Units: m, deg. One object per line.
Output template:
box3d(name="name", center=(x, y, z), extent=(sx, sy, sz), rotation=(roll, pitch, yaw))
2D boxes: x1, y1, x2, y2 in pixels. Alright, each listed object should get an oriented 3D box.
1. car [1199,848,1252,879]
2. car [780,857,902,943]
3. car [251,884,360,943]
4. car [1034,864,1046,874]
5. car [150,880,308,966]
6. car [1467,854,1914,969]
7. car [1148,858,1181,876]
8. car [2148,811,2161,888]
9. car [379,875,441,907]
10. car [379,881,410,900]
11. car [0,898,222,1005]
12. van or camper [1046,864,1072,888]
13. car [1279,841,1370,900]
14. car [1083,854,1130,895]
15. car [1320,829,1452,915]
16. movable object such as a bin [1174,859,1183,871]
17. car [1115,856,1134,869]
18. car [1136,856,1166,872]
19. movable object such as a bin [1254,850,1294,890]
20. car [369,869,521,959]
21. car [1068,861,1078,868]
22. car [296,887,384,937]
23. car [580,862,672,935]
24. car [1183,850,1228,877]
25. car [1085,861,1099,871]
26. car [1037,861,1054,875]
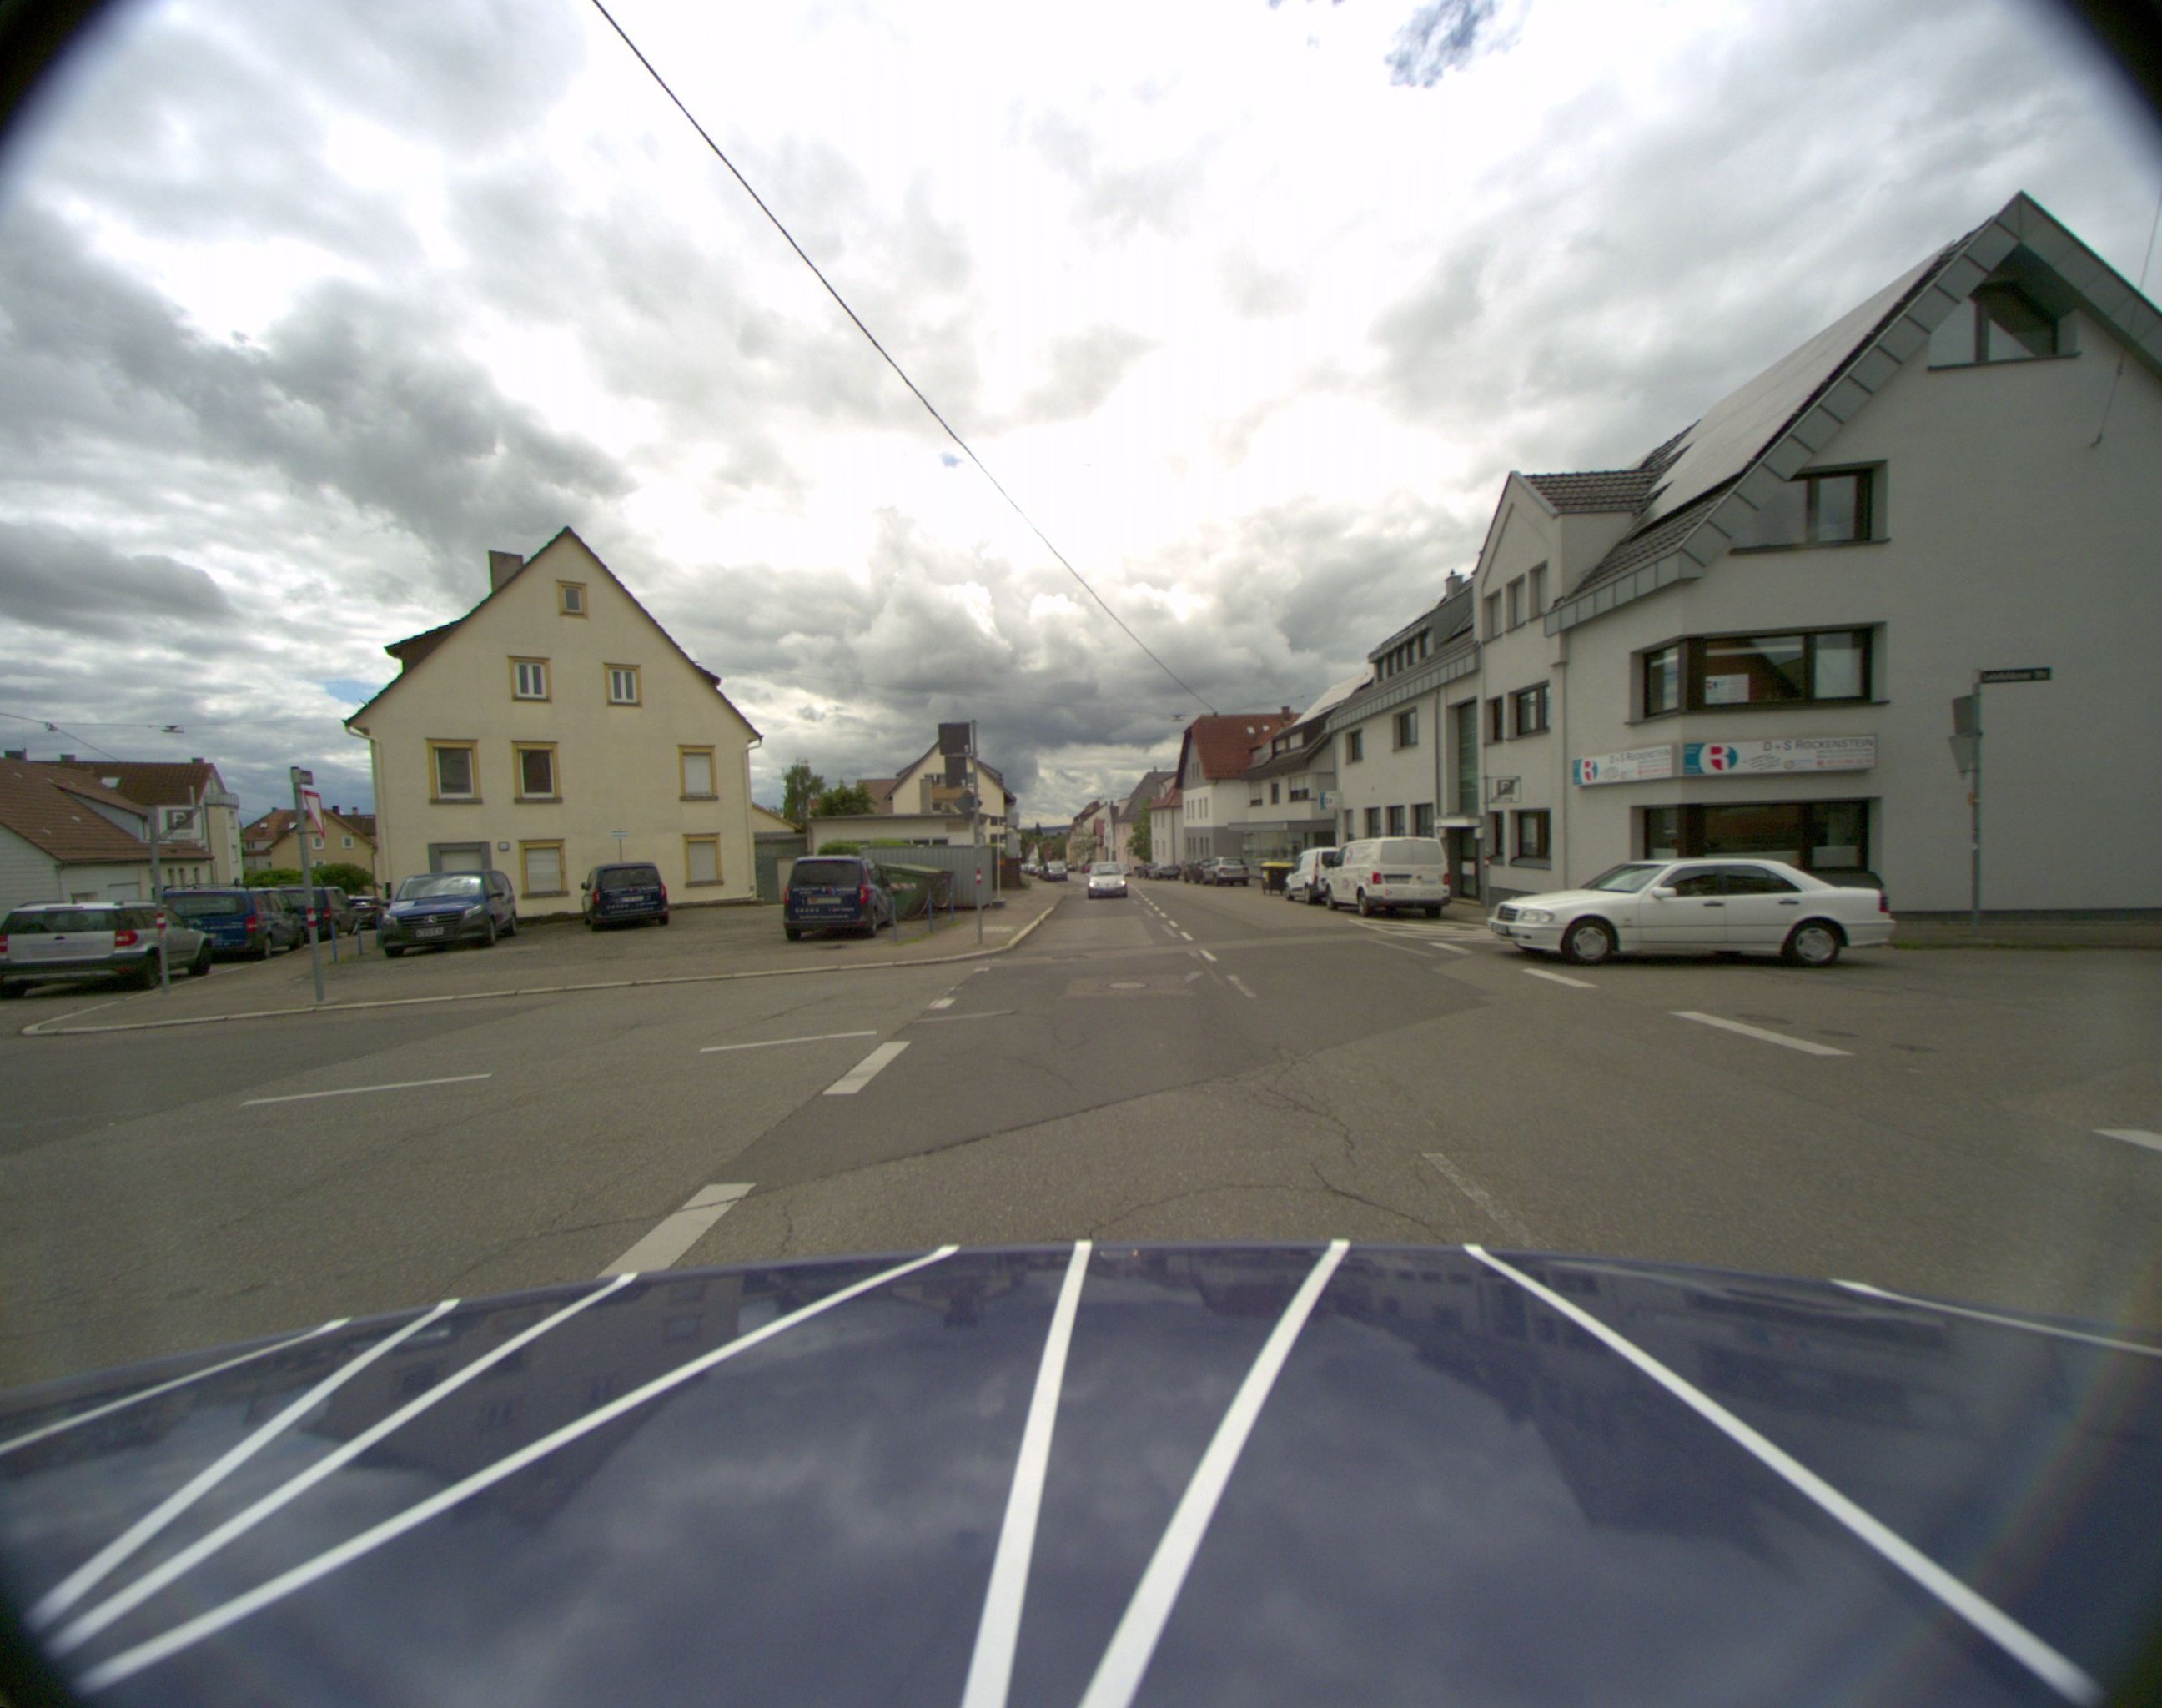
box3d(name="car", center=(8.139, 0.539, 43.278), extent=(1.843, 1.623, 4.406), rotation=(-1, 0, -5))
box3d(name="car", center=(-5.389, 0.949, 17.662), extent=(1.751, 1.729, 4.570), rotation=(0, 0, -5))
box3d(name="car", center=(-26.203, 1.955, 25.812), extent=(1.725, 1.720, 3.991), rotation=(-4, 0, -34))
box3d(name="car", center=(-6.299, 2.297, 117.505), extent=(1.614, 1.446, 3.857), rotation=(-4, 0, -6))
box3d(name="car", center=(-21.941, 1.698, 19.774), extent=(1.778, 1.931, 4.314), rotation=(-1, -2, -35))
box3d(name="car", center=(8.243, 0.733, 10.732), extent=(4.562, 1.437, 2.001), rotation=(0, 0, 7))
box3d(name="car", center=(6.817, 1.036, 62.531), extent=(1.843, 1.436, 4.466), rotation=(0, 0, -5))
box3d(name="car", center=(26.444, -0.092, 16.333), extent=(1.897, 1.840, 3.907), rotation=(-2, 1, 11))
box3d(name="car", center=(-41.165, 2.270, 46.719), extent=(2.286, 1.720, 3.991), rotation=(-4, 0, -34))
box3d(name="car", center=(-83.048, 4.396, 91.942), extent=(2.003, 2.002, 3.991), rotation=(-4, 0, -33))
box3d(name="car", center=(-18.489, 1.738, 14.515), extent=(1.778, 1.608, 3.991), rotation=(-4, 0, -35))
box3d(name="van or camper", center=(-2.131, 2.054, 72.971), extent=(1.999, 2.002, 5.062), rotation=(-5, 0, -6))
box3d(name="car", center=(8.037, 0.527, 25.486), extent=(1.737, 1.821, 4.298), rotation=(0, 0, 1))
box3d(name="car", center=(1.070, 0.854, 33.889), extent=(1.721, 1.586, 3.999), rotation=(-4, 0, -2))
box3d(name="car", center=(7.823, 0.440, 20.014), extent=(1.816, 1.994, 4.764), rotation=(0, 0, 4))
box3d(name="movable object such as a bin", center=(9.284, 1.042, 72.473), extent=(0.679, 1.039, 0.758), rotation=(-4, 0, -5))
box3d(name="car", center=(4.894, 0.971, 85.706), extent=(1.654, 1.438, 3.809), rotation=(-1, 0, -5))
box3d(name="car", center=(6.376, 0.903, 69.377), extent=(1.843, 1.436, 3.997), rotation=(0, 0, -8))
box3d(name="movable object such as a bin", center=(8.048, 0.644, 31.768), extent=(1.143, 1.623, 1.562), rotation=(-1, 0, -5))
box3d(name="car", center=(-15.451, 1.371, 18.766), extent=(1.905, 1.792, 4.883), rotation=(-4, 0, -30))
box3d(name="car", center=(-1.652, 2.139, 154.810), extent=(1.707, 1.523, 3.734), rotation=(1, 0, -5))
box3d(name="car", center=(-29.279, 2.237, 30.160), extent=(1.725, 1.720, 3.991), rotation=(-4, 0, -34))
box3d(name="car", center=(-12.895, 1.219, 21.433), extent=(1.872, 1.718, 3.991), rotation=(-4, 0, -34))
box3d(name="car", center=(7.877, 0.606, 48.545), extent=(1.843, 1.623, 4.406), rotation=(-1, 0, -5))
box3d(name="car", center=(1.730, 1.789, 116.891), extent=(1.707, 1.523, 3.734), rotation=(1, 0, -5))
box3d(name="car", center=(-4.142, 1.570, 88.506), extent=(1.614, 1.446, 3.857), rotation=(-4, 0, -6))
